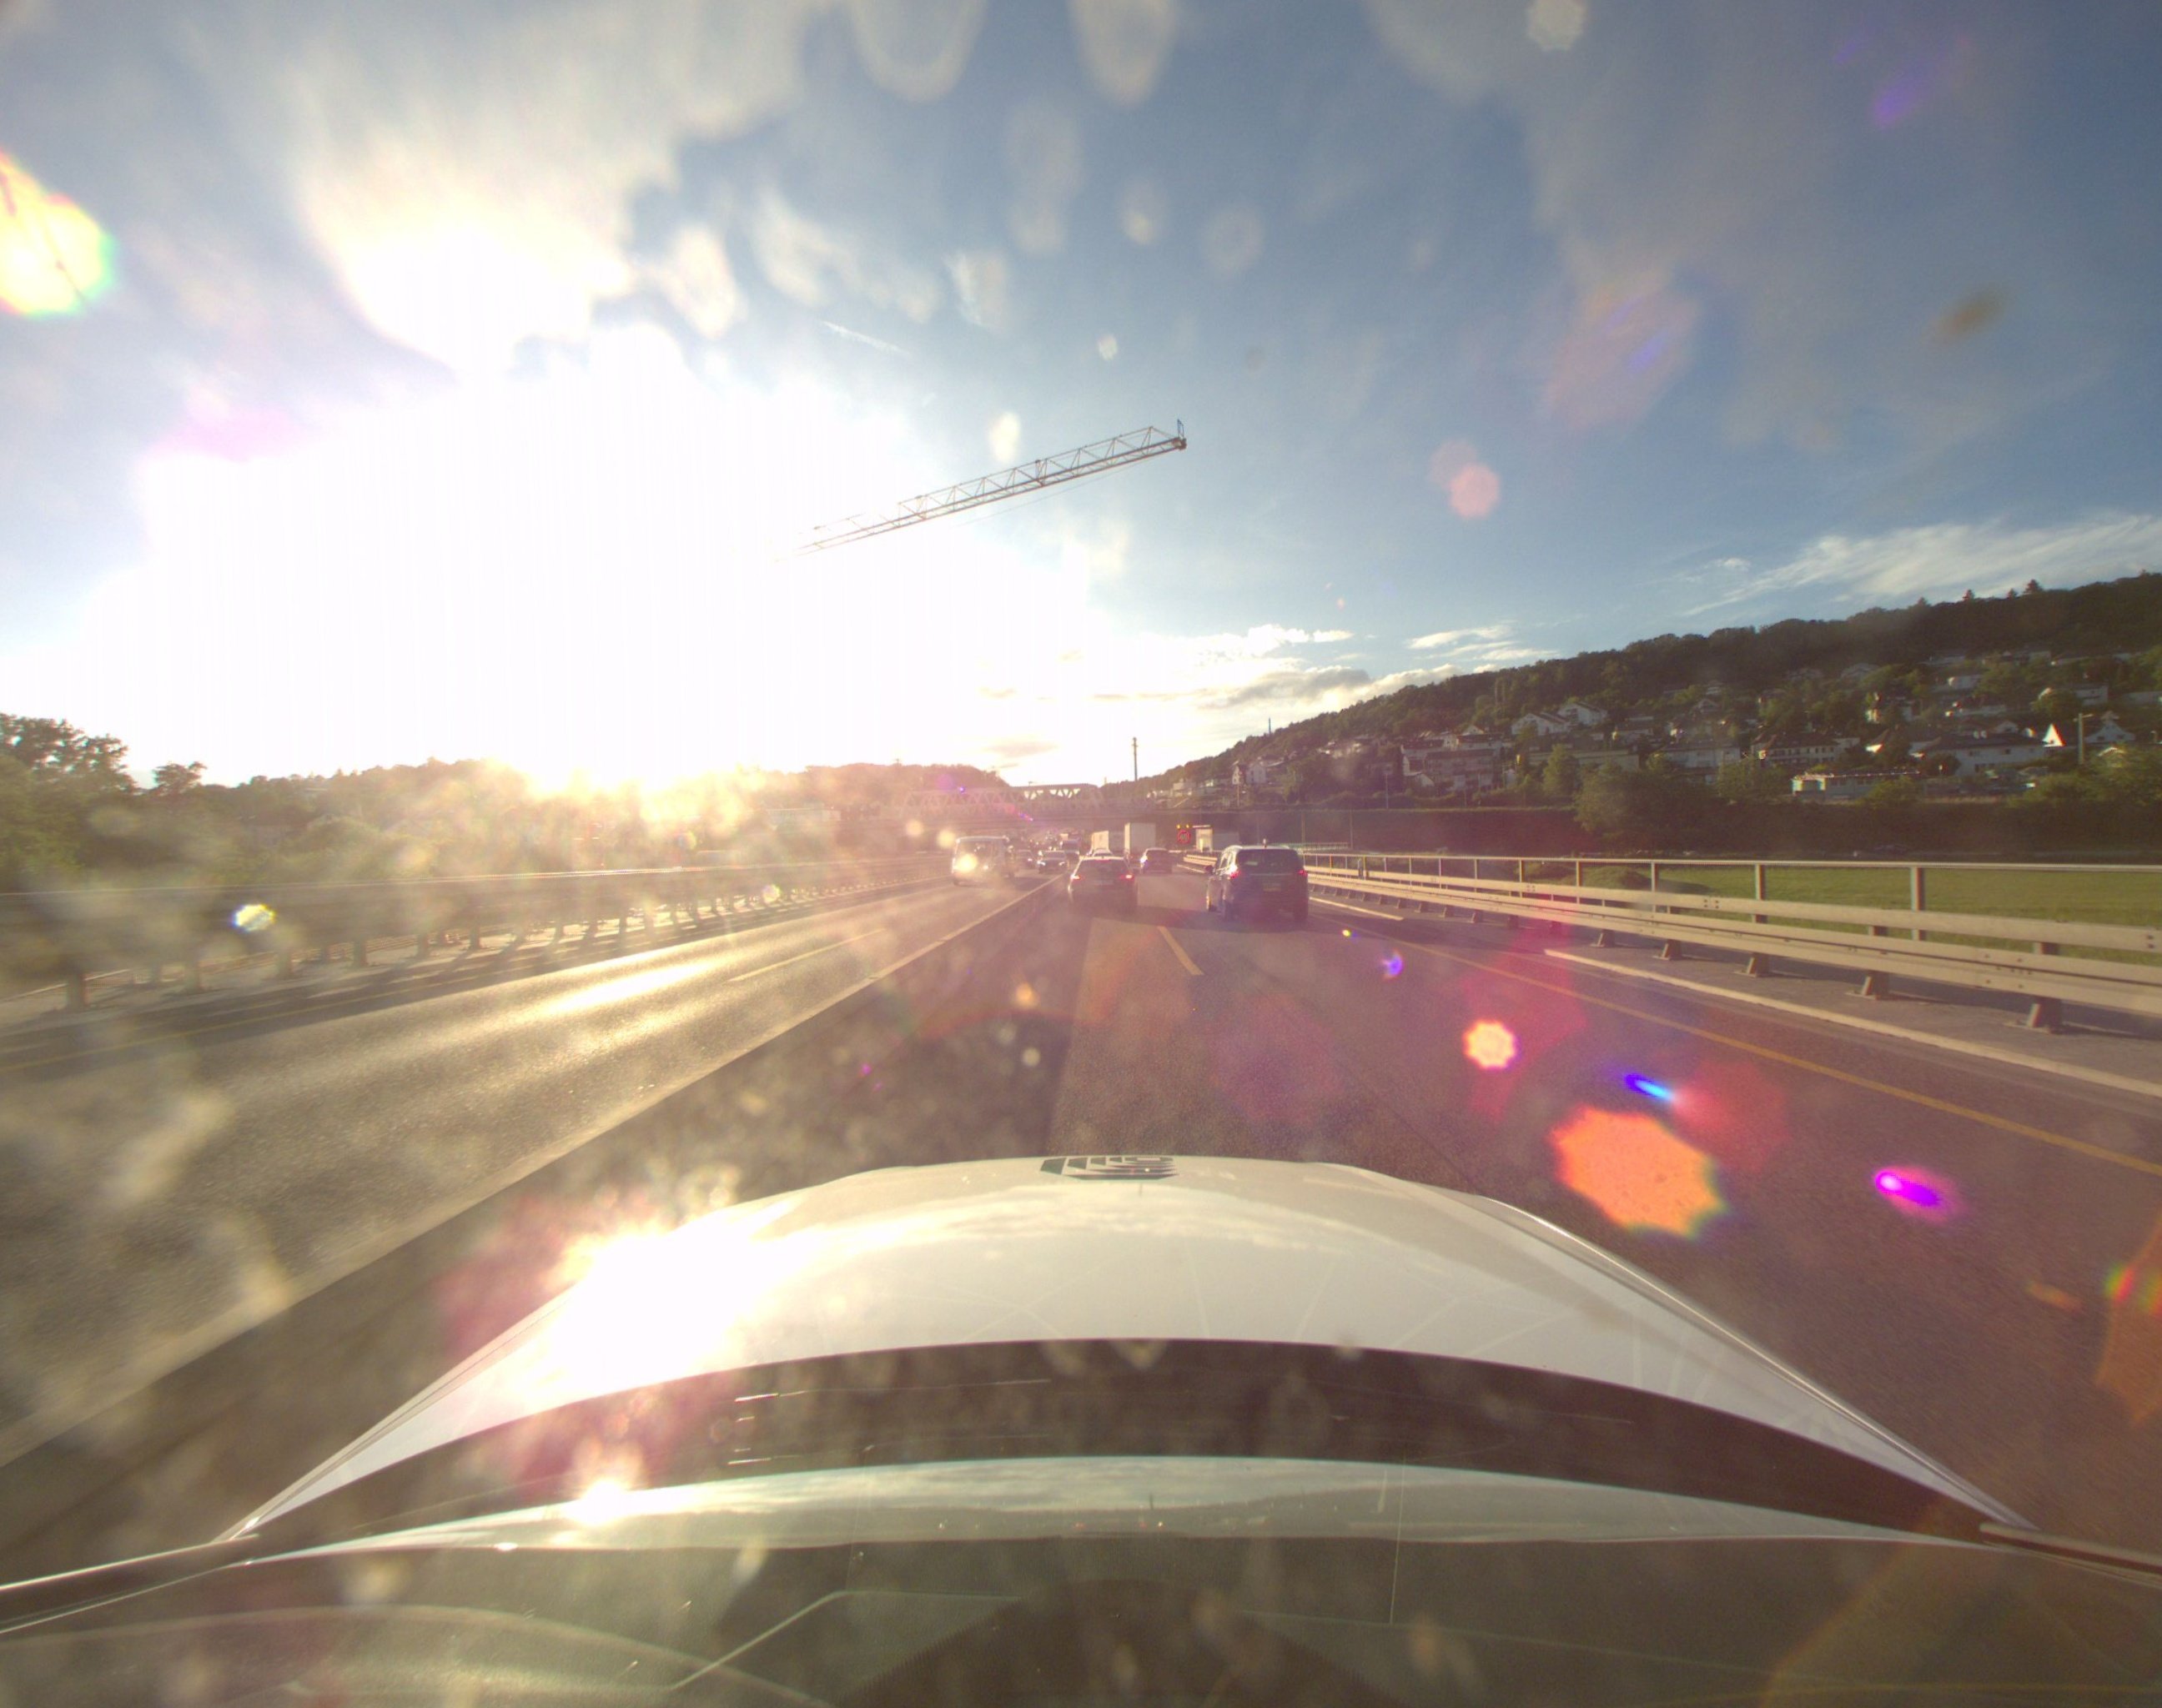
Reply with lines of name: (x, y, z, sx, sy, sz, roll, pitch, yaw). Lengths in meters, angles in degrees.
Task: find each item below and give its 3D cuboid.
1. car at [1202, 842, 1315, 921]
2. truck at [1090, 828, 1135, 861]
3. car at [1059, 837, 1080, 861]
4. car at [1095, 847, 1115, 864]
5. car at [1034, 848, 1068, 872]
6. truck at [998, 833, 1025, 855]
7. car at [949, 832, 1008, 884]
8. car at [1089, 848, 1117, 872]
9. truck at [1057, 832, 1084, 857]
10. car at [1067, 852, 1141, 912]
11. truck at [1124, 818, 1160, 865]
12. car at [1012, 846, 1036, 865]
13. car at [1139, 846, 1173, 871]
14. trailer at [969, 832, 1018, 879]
car: (4.005, 0.544, 19.042, 1.807, 1.632, 4.413, 0, 1, 2)
truck: (4.441, -1.352, 119.794, 3.889, 4.498, 15.221, 0, 0, -9)
car: (-1.172, -0.493, 86.428, 2.066, 2.457, 6.268, 0, 1, 1)
car: (2.241, 0.145, 75.238, 1.758, 1.486, 4.003, 0, 1, 3)
car: (-1.972, 0.365, 55.130, 1.987, 1.530, 5.782, -1, 0, 1)
truck: (-12.789, -1.893, 149.094, 2.937, 3.890, 10.208, -1, 1, -16)
car: (-4.926, 0.153, 39.896, 1.986, 2.323, 5.936, 0, 0, 1)
car: (1.397, 0.379, 52.996, 1.759, 1.486, 4.000, 0, 1, 0)
truck: (-2.139, -1.896, 156.744, 3.886, 4.497, 13.818, 0, 1, -7)
car: (0.588, 0.676, 21.526, 1.764, 1.390, 4.001, 0, 1, 1)
truck: (6.220, -1.222, 84.989, 3.371, 4.498, 15.279, 0, 0, 3)
car: (-4.741, 0.093, 68.324, 1.611, 1.552, 4.090, -1, 0, 2)
car: (4.846, 0.254, 53.175, 1.765, 1.552, 3.998, 0, 1, -1)
trailer: (-4.809, 0.052, 45.476, 2.069, 2.420, 5.220, 0, 0, 1)
